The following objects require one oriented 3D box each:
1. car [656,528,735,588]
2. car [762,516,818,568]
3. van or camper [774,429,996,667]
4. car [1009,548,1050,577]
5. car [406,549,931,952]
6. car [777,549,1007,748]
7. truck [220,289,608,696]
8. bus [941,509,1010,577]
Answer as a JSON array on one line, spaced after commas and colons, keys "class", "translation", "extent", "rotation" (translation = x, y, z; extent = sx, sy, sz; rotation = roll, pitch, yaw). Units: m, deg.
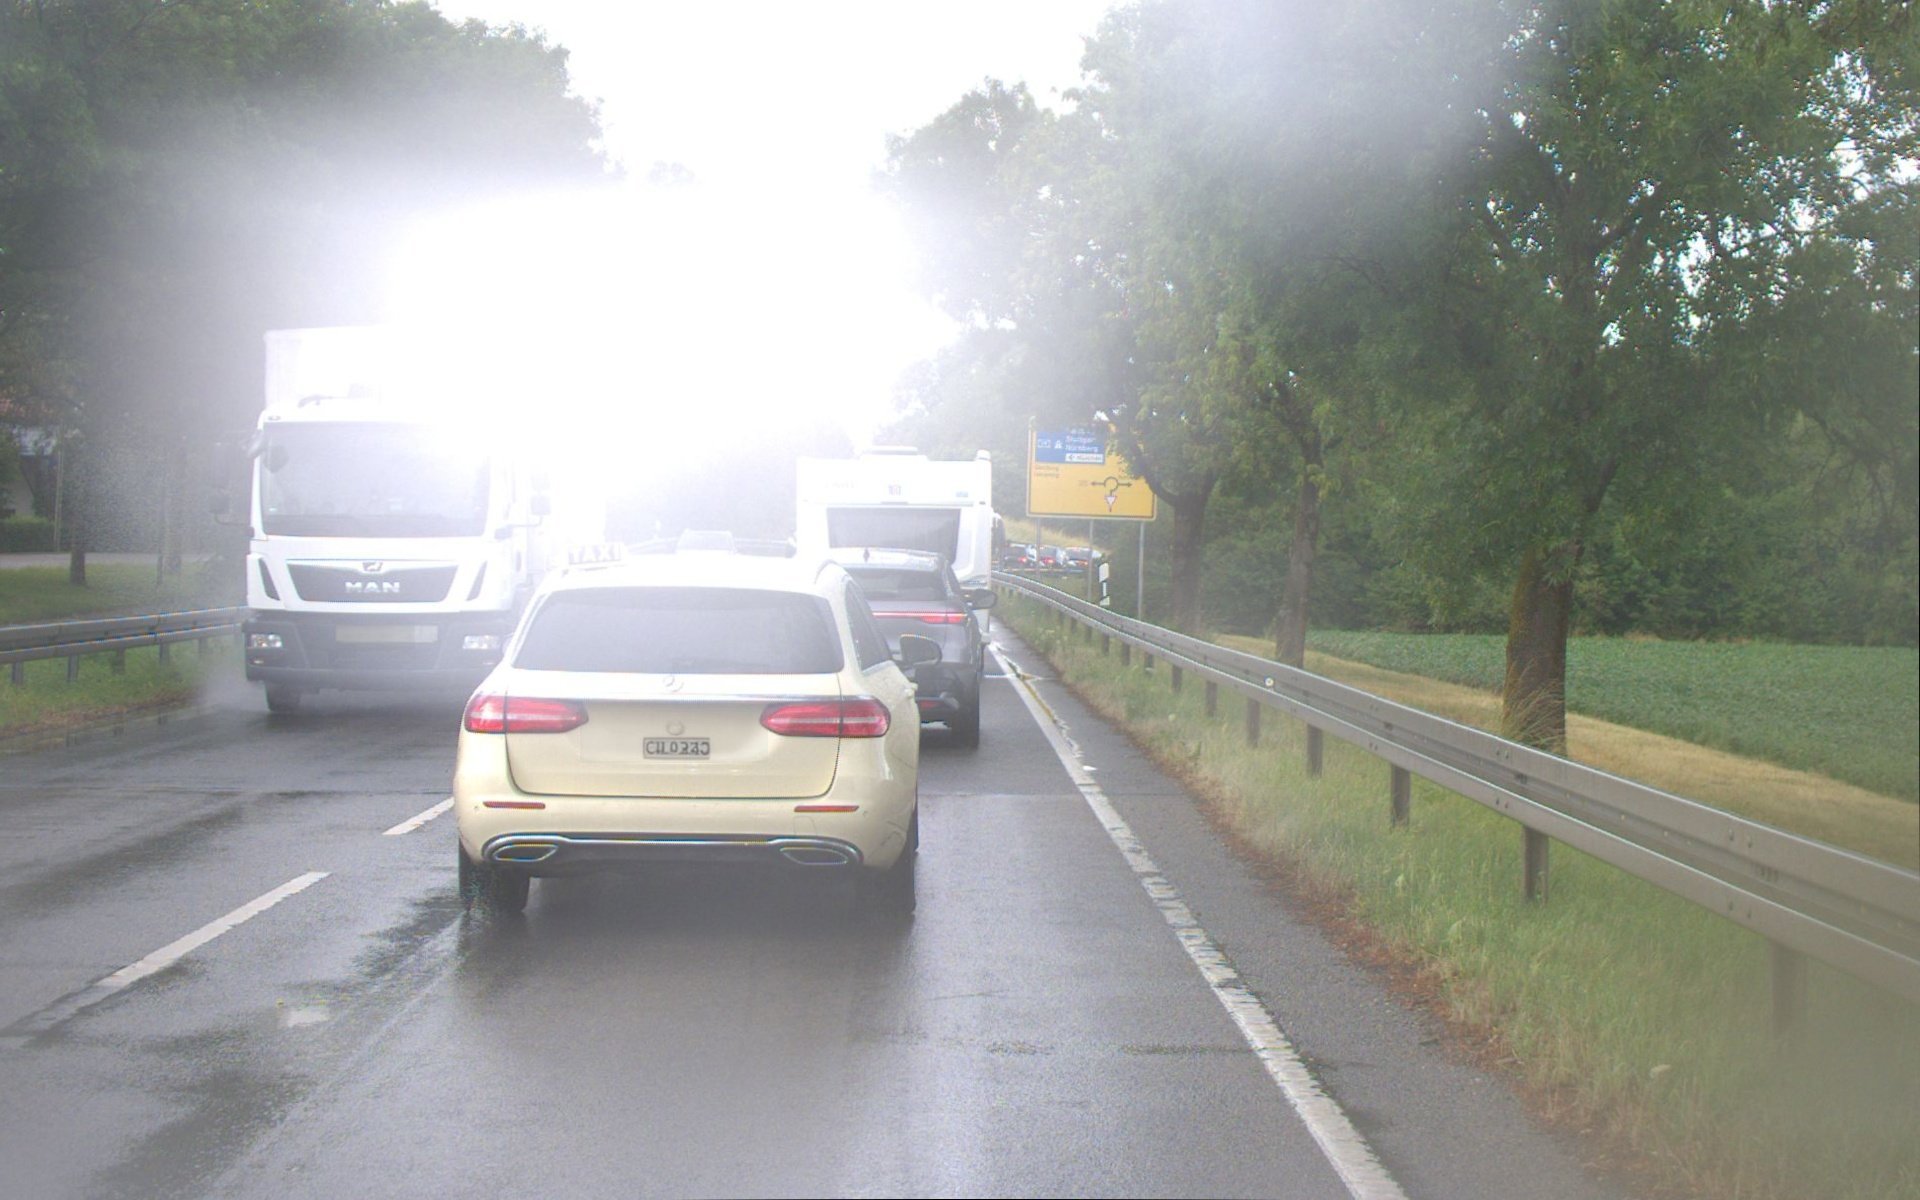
[{"class": "car", "translation": [-6.603, -1.058, 85.999], "extent": [1.714, 1.446, 4.111], "rotation": [1, 1, -1]}, {"class": "car", "translation": [-5.978, -2.035, 121.094], "extent": [1.828, 1.796, 4.415], "rotation": [0, 1, -1]}, {"class": "van or camper", "translation": [-0.828, -0.646, 42.148], "extent": [2.489, 2.676, 5.700], "rotation": [1, 1, 1]}, {"class": "car", "translation": [2.746, -1.482, 136.875], "extent": [1.551, 1.114, 4.000], "rotation": [1, 1, 0]}, {"class": "car", "translation": [-1.102, 0.528, 14.753], "extent": [1.865, 1.471, 4.000], "rotation": [0, 1, 1]}, {"class": "car", "translation": [-0.472, 0.322, 27.017], "extent": [1.664, 1.426, 4.000], "rotation": [0, 1, 1]}, {"class": "truck", "translation": [-5.127, -1.008, 33.977], "extent": [2.576, 3.440, 9.557], "rotation": [0, 1, -2]}, {"class": "bus", "translation": [0.452, -1.711, 103.386], "extent": [1.993, 2.007, 4.000], "rotation": [0, 1, -1]}]
